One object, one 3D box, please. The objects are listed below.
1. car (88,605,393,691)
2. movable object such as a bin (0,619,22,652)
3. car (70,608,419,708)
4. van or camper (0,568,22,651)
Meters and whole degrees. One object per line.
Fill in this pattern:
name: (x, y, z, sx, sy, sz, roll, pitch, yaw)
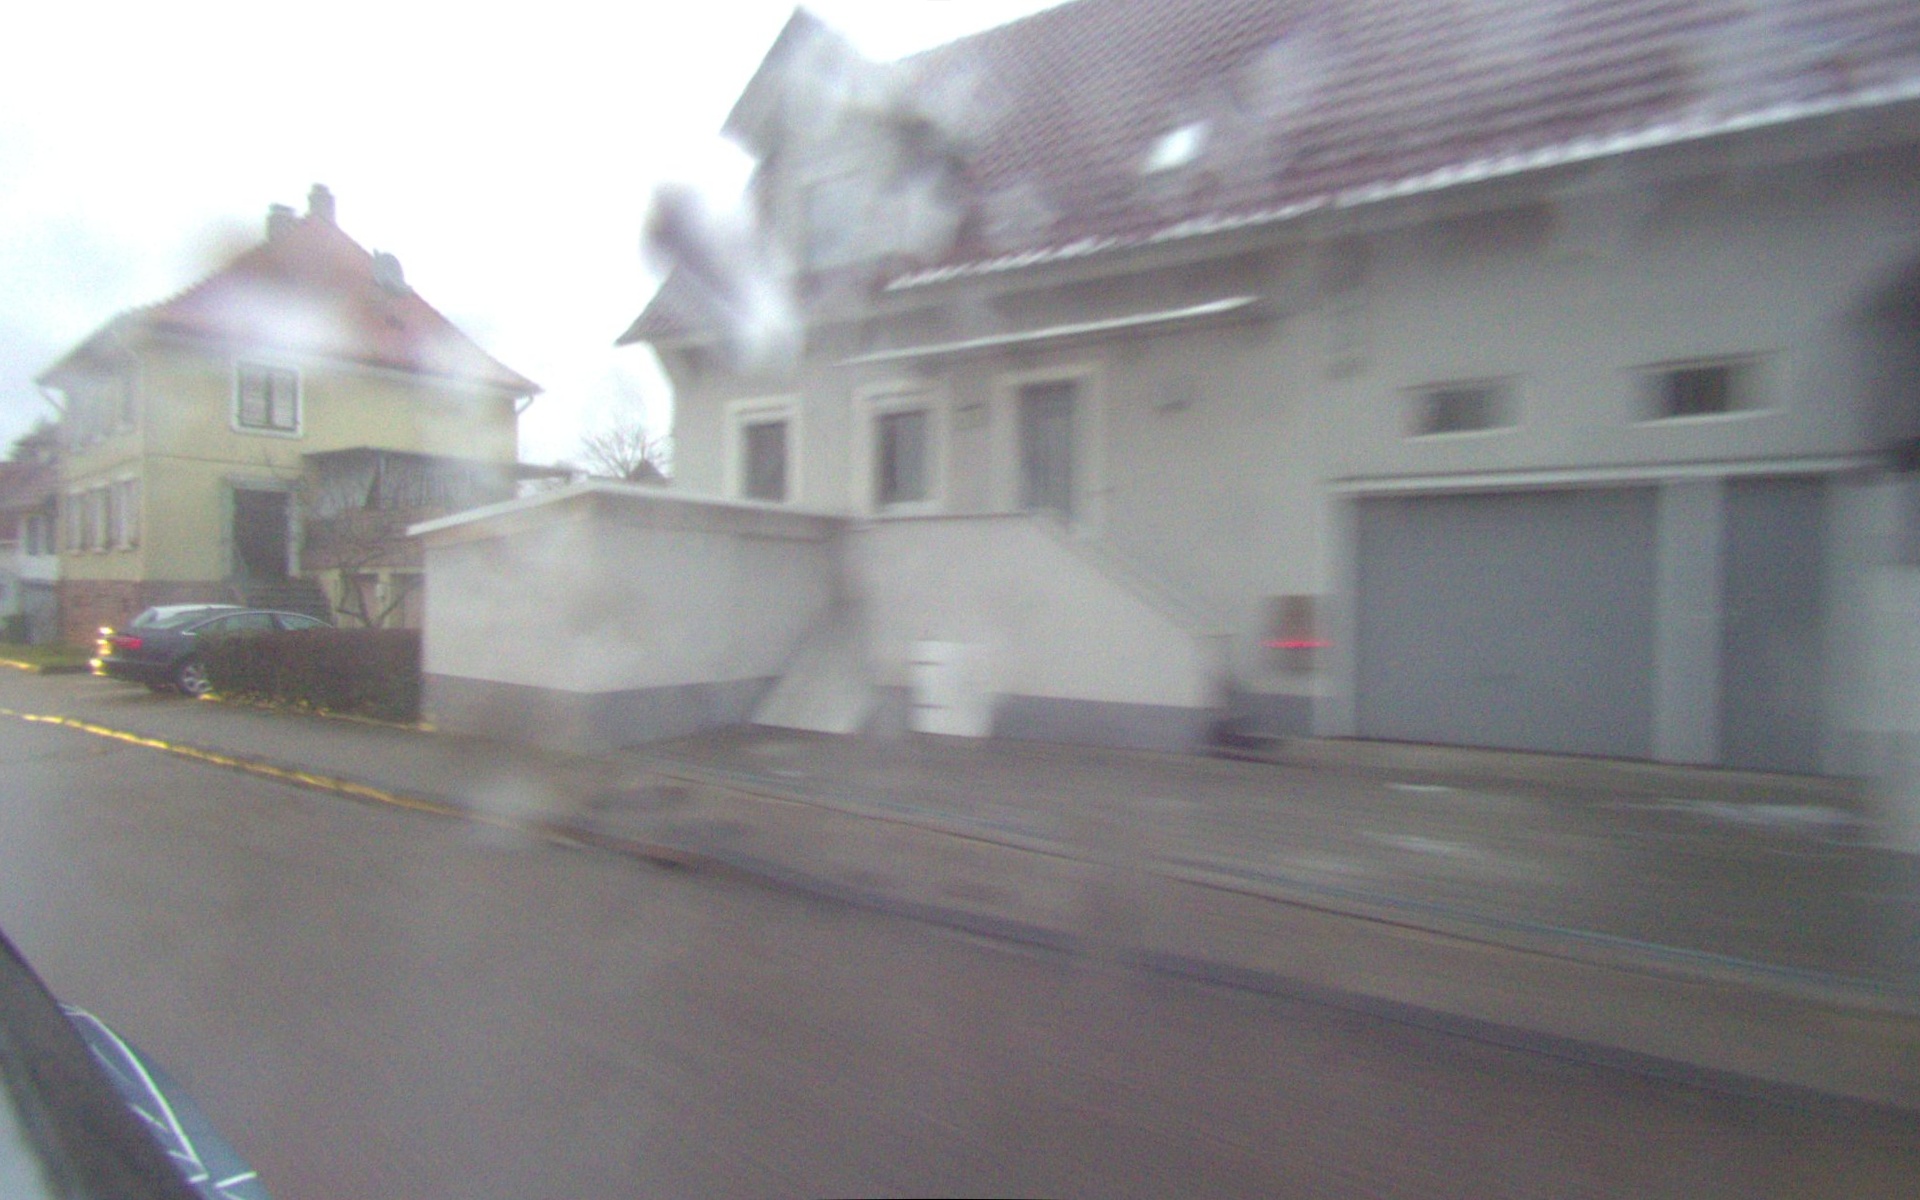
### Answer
car: (-13.925, 0.867, 19.834, 1.890, 1.481, 4.557, 0, -1, 40)
movable object such as a bin: (-30.998, 1.154, 32.946, 0.580, 1.028, 0.610, -1, 0, 39)
car: (-12.162, 0.903, 17.509, 1.996, 1.481, 4.552, 0, -1, 36)
van or camper: (-36.497, 0.253, 34.640, 2.317, 2.964, 6.007, 0, -3, 34)
